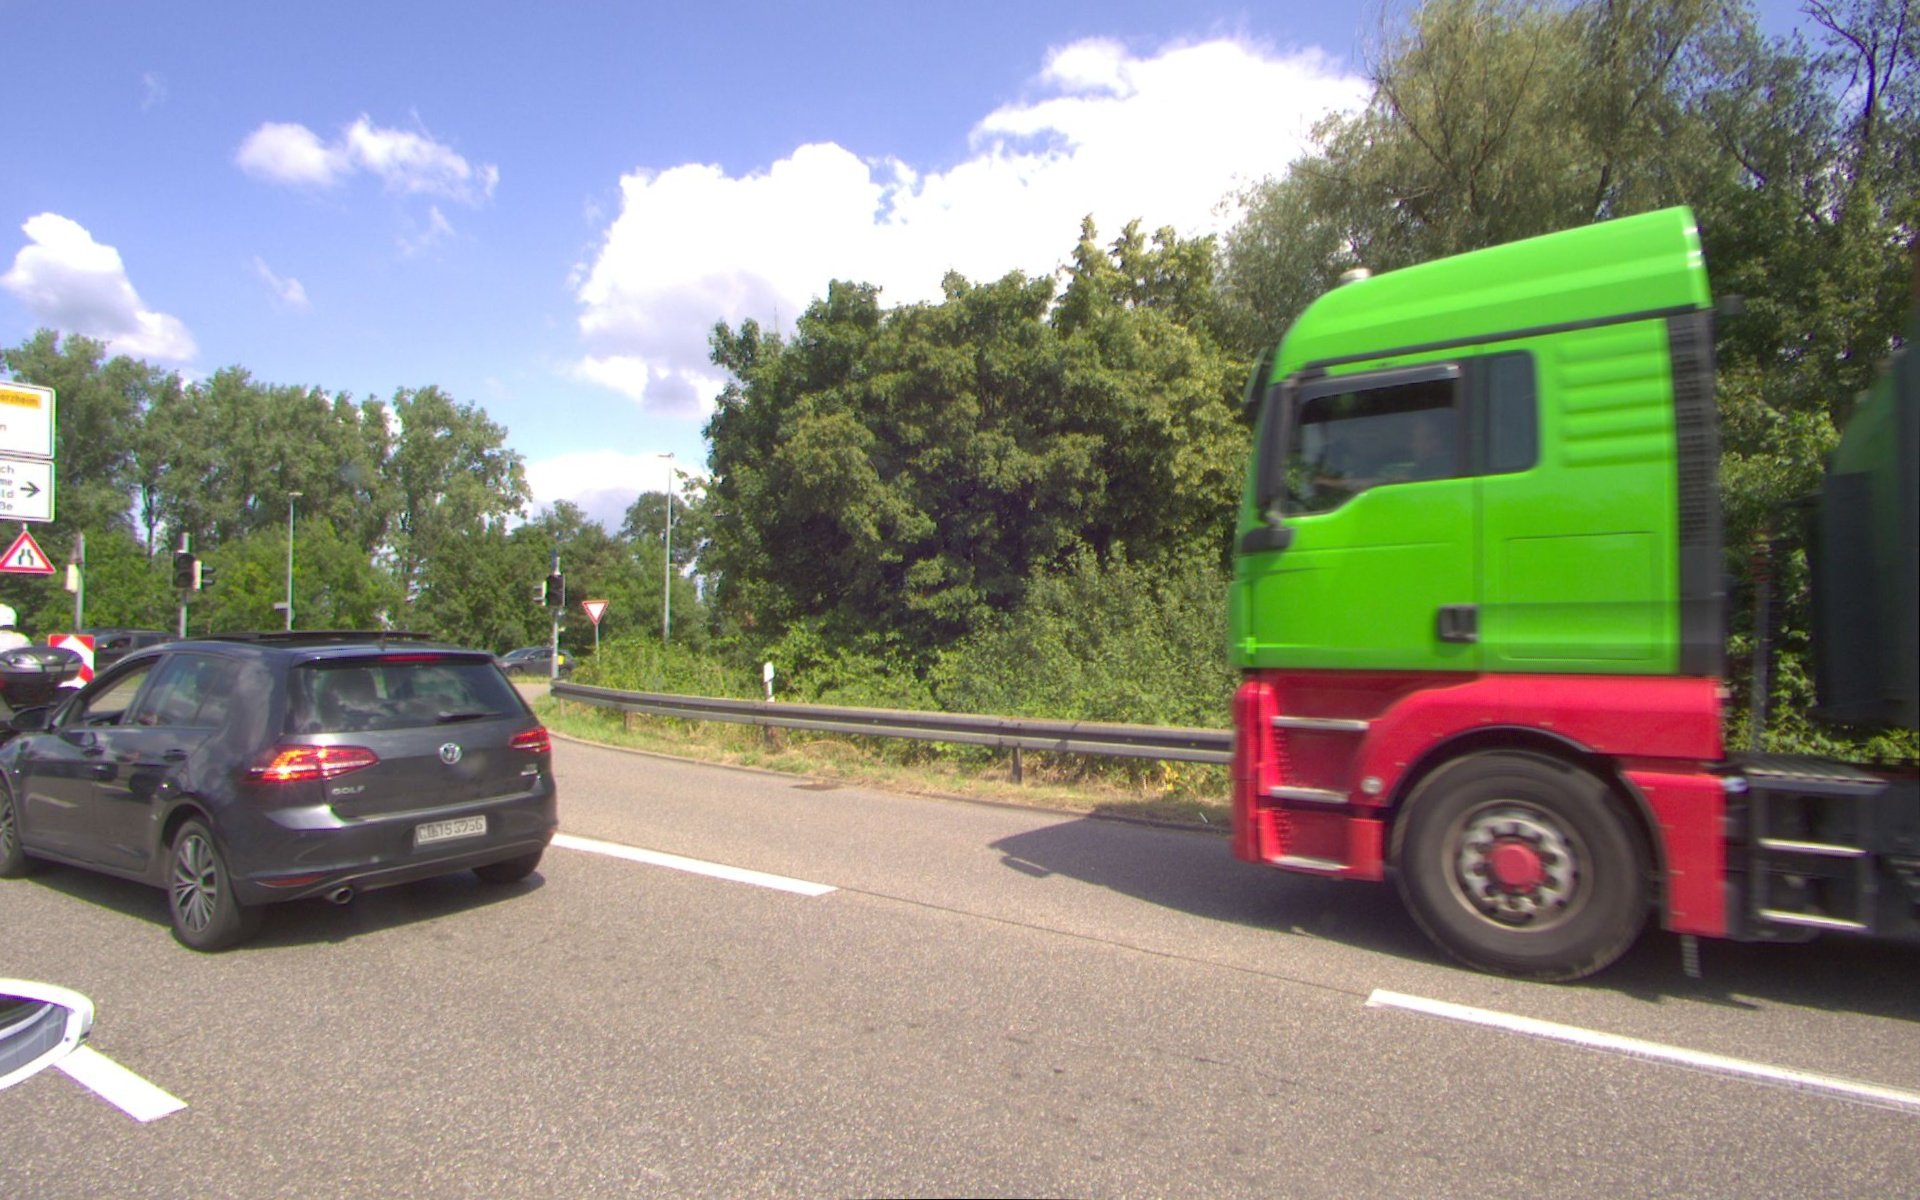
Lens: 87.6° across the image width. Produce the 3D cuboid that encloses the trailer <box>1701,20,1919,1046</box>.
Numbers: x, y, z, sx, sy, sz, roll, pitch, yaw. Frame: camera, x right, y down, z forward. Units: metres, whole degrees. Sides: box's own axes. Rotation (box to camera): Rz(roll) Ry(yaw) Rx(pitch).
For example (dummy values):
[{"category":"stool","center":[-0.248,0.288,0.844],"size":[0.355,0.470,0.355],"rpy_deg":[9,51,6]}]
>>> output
[{"category":"trailer","center":[9.797,-0.279,1.113],"size":[14.305,3.941,2.580],"rpy_deg":[-1,-4,35]}]

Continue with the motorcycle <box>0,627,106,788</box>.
[{"category":"motorcycle","center":[-9.272,0.970,9.680],"size":[2.336,1.406,0.864],"rpy_deg":[0,-2,32]}]

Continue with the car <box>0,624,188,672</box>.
[{"category":"car","center":[-30.390,1.692,35.208],"size":[1.711,1.564,4.842],"rpy_deg":[0,-3,31]}]

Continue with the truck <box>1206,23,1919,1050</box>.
[{"category":"truck","center":[4.539,-0.190,4.790],"size":[5.979,3.941,2.580],"rpy_deg":[-1,-4,35]}]

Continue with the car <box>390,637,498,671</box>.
[{"category":"car","center":[-24.012,2.506,46.720],"size":[1.710,1.495,4.222],"rpy_deg":[0,-3,29]}]

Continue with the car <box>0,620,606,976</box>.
[{"category":"car","center":[-4.176,0.897,6.028],"size":[3.988,1.495,1.729],"rpy_deg":[-1,-3,32]}]

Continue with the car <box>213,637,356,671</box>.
[{"category":"car","center":[-27.296,2.186,40.627],"size":[1.710,1.297,4.491],"rpy_deg":[0,-3,29]}]

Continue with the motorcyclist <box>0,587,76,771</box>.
[{"category":"motorcyclist","center":[-9.321,0.744,9.716],"size":[0.881,1.722,0.864],"rpy_deg":[0,-2,32]}]

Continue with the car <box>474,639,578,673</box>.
[{"category":"car","center":[-19.972,2.571,46.217],"size":[1.710,1.495,4.222],"rpy_deg":[0,-3,29]}]

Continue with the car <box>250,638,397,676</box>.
[{"category":"car","center":[-24.203,2.148,38.259],"size":[1.710,1.337,4.471],"rpy_deg":[0,-3,29]}]

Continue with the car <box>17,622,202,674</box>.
[{"category":"car","center":[-27.553,1.558,32.583],"size":[1.711,1.564,4.264],"rpy_deg":[0,-3,31]}]
